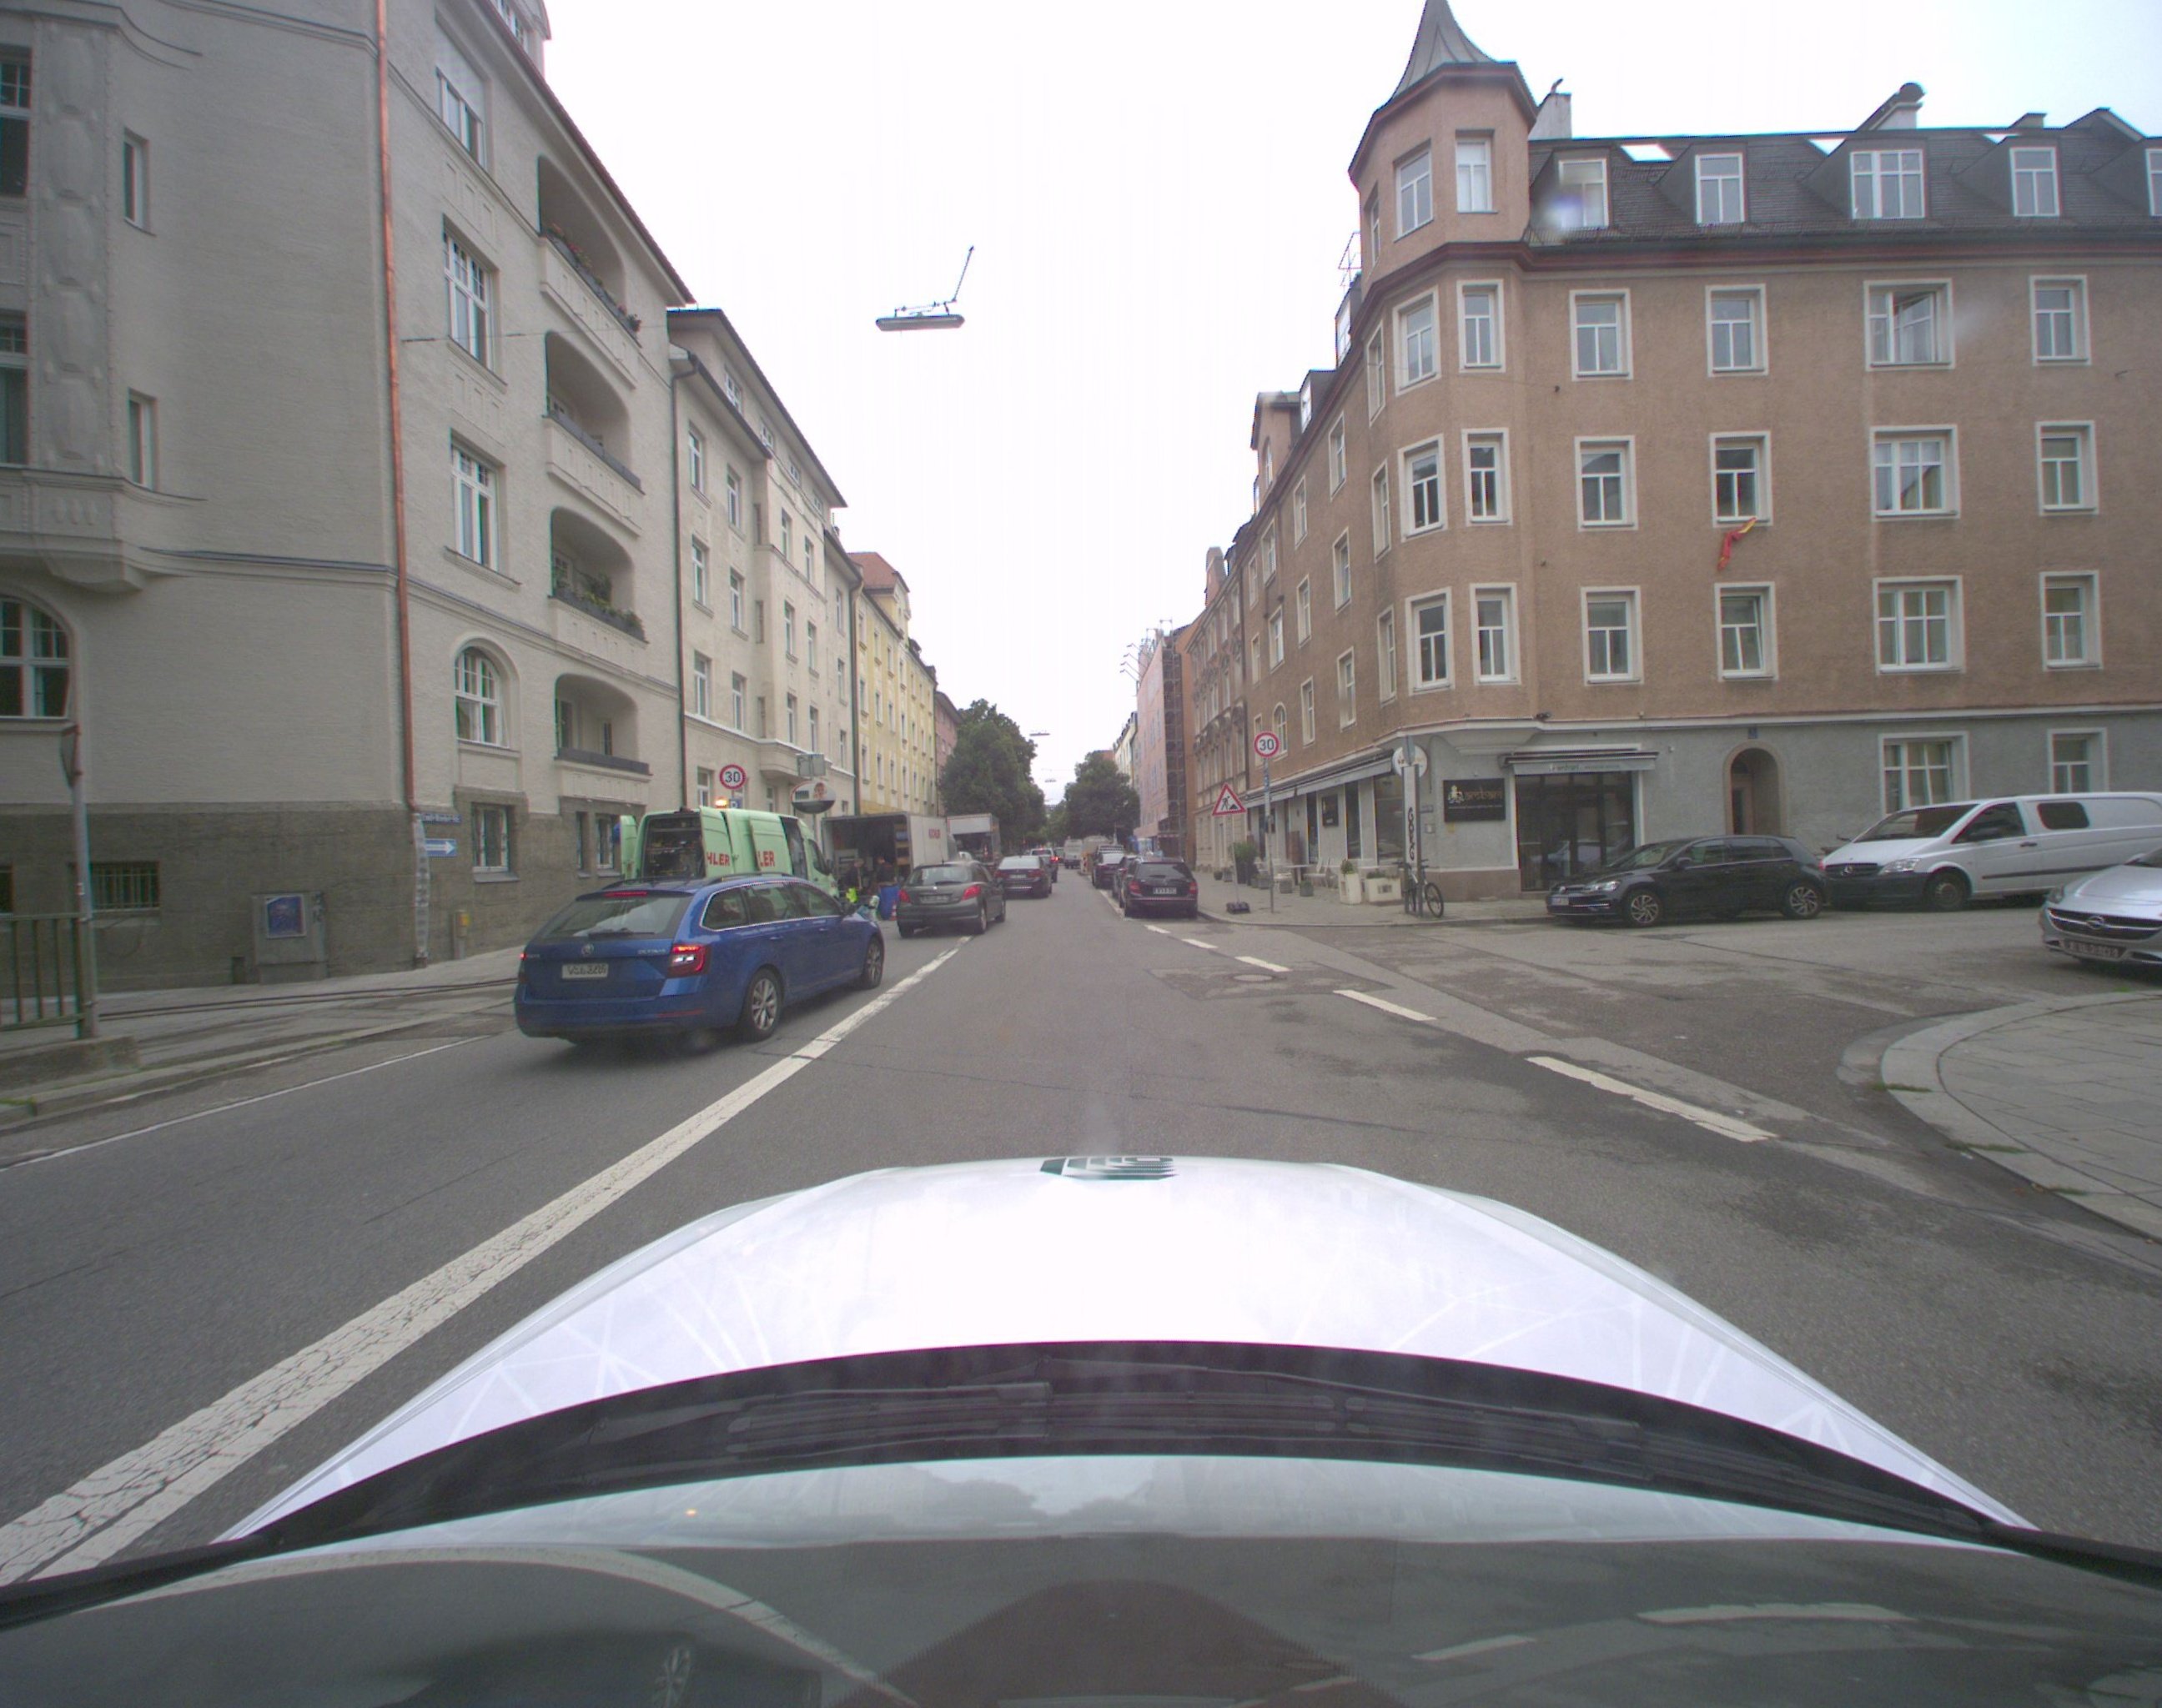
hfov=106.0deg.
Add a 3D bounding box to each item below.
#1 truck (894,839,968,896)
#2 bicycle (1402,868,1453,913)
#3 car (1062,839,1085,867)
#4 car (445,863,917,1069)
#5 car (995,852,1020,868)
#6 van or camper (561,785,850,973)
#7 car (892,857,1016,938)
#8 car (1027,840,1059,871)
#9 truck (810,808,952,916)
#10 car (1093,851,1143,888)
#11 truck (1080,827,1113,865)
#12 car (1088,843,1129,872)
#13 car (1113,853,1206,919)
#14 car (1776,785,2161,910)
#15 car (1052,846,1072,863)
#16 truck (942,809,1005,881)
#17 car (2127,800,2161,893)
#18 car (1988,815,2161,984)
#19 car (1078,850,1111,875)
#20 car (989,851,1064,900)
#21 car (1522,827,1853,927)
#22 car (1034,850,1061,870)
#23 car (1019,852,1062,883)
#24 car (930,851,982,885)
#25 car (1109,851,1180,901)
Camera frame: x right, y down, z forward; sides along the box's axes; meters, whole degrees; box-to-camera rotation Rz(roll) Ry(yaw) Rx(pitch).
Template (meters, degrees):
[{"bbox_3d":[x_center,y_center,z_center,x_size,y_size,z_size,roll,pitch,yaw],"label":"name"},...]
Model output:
[{"bbox_3d":[-6.195,0.515,34.237,2.280,2.171,4.804,-1,0,-1],"label":"truck"},{"bbox_3d":[6.805,0.701,16.042,0.455,0.805,1.327,-1,0,2],"label":"bicycle"},{"bbox_3d":[-0.671,-0.108,76.111,1.933,2.480,4.784,-1,0,1],"label":"car"},{"bbox_3d":[-3.444,0.861,8.331,1.976,1.454,4.744,-2,-1,8],"label":"car"},{"bbox_3d":[-6.861,0.529,76.298,1.934,1.448,3.864,-1,0,-1],"label":"car"},{"bbox_3d":[-6.700,0.339,15.736,2.592,2.840,6.185,-2,1,0],"label":"van or camper"},{"bbox_3d":[-2.575,0.836,17.484,1.751,1.461,4.078,-2,0,3],"label":"car"},{"bbox_3d":[-2.719,0.052,59.038,1.984,2.075,4.140,-2,1,0],"label":"car"},{"bbox_3d":[-6.063,0.169,26.015,2.765,2.873,7.198,-2,1,-1],"label":"truck"},{"bbox_3d":[1.523,0.643,35.322,1.839,1.429,4.304,1,1,-2],"label":"car"},{"bbox_3d":[1.266,-0.649,68.996,2.484,2.973,5.325,-1,0,-1],"label":"truck"},{"bbox_3d":[1.420,0.150,43.213,1.984,1.429,4.140,-2,1,0],"label":"car"},{"bbox_3d":[1.883,0.721,20.688,1.839,1.429,4.181,1,1,-2],"label":"car"},{"bbox_3d":[15.646,-0.086,14.255,5.111,1.854,2.099,-2,-2,-1],"label":"car"},{"bbox_3d":[-2.150,0.052,91.200,1.986,1.904,4.001,-1,0,2],"label":"car"},{"bbox_3d":[-6.366,-0.514,49.275,3.004,3.951,6.990,-1,0,-2],"label":"truck"},{"bbox_3d":[21.923,-0.229,14.217,4.594,1.687,2.099,-2,-2,-1],"label":"car"},{"bbox_3d":[11.591,0.332,7.707,4.022,1.456,1.747,-2,2,1],"label":"car"},{"bbox_3d":[0.861,0.540,52.949,1.984,1.429,4.140,-2,1,0],"label":"car"},{"bbox_3d":[-1.813,0.679,28.919,1.982,1.429,4.910,-3,1,3],"label":"car"},{"bbox_3d":[10.101,0.397,13.828,4.157,1.429,1.924,-2,-2,-1],"label":"car"},{"bbox_3d":[-2.664,0.444,66.229,1.984,1.429,4.140,-2,1,0],"label":"car"},{"bbox_3d":[-2.113,0.667,43.355,1.984,1.429,4.140,-2,1,0],"label":"car"},{"bbox_3d":[-6.317,0.683,41.612,1.984,1.610,4.140,-1,0,0],"label":"car"},{"bbox_3d":[1.983,0.657,26.560,1.839,1.429,4.138,1,1,-2],"label":"car"}]
